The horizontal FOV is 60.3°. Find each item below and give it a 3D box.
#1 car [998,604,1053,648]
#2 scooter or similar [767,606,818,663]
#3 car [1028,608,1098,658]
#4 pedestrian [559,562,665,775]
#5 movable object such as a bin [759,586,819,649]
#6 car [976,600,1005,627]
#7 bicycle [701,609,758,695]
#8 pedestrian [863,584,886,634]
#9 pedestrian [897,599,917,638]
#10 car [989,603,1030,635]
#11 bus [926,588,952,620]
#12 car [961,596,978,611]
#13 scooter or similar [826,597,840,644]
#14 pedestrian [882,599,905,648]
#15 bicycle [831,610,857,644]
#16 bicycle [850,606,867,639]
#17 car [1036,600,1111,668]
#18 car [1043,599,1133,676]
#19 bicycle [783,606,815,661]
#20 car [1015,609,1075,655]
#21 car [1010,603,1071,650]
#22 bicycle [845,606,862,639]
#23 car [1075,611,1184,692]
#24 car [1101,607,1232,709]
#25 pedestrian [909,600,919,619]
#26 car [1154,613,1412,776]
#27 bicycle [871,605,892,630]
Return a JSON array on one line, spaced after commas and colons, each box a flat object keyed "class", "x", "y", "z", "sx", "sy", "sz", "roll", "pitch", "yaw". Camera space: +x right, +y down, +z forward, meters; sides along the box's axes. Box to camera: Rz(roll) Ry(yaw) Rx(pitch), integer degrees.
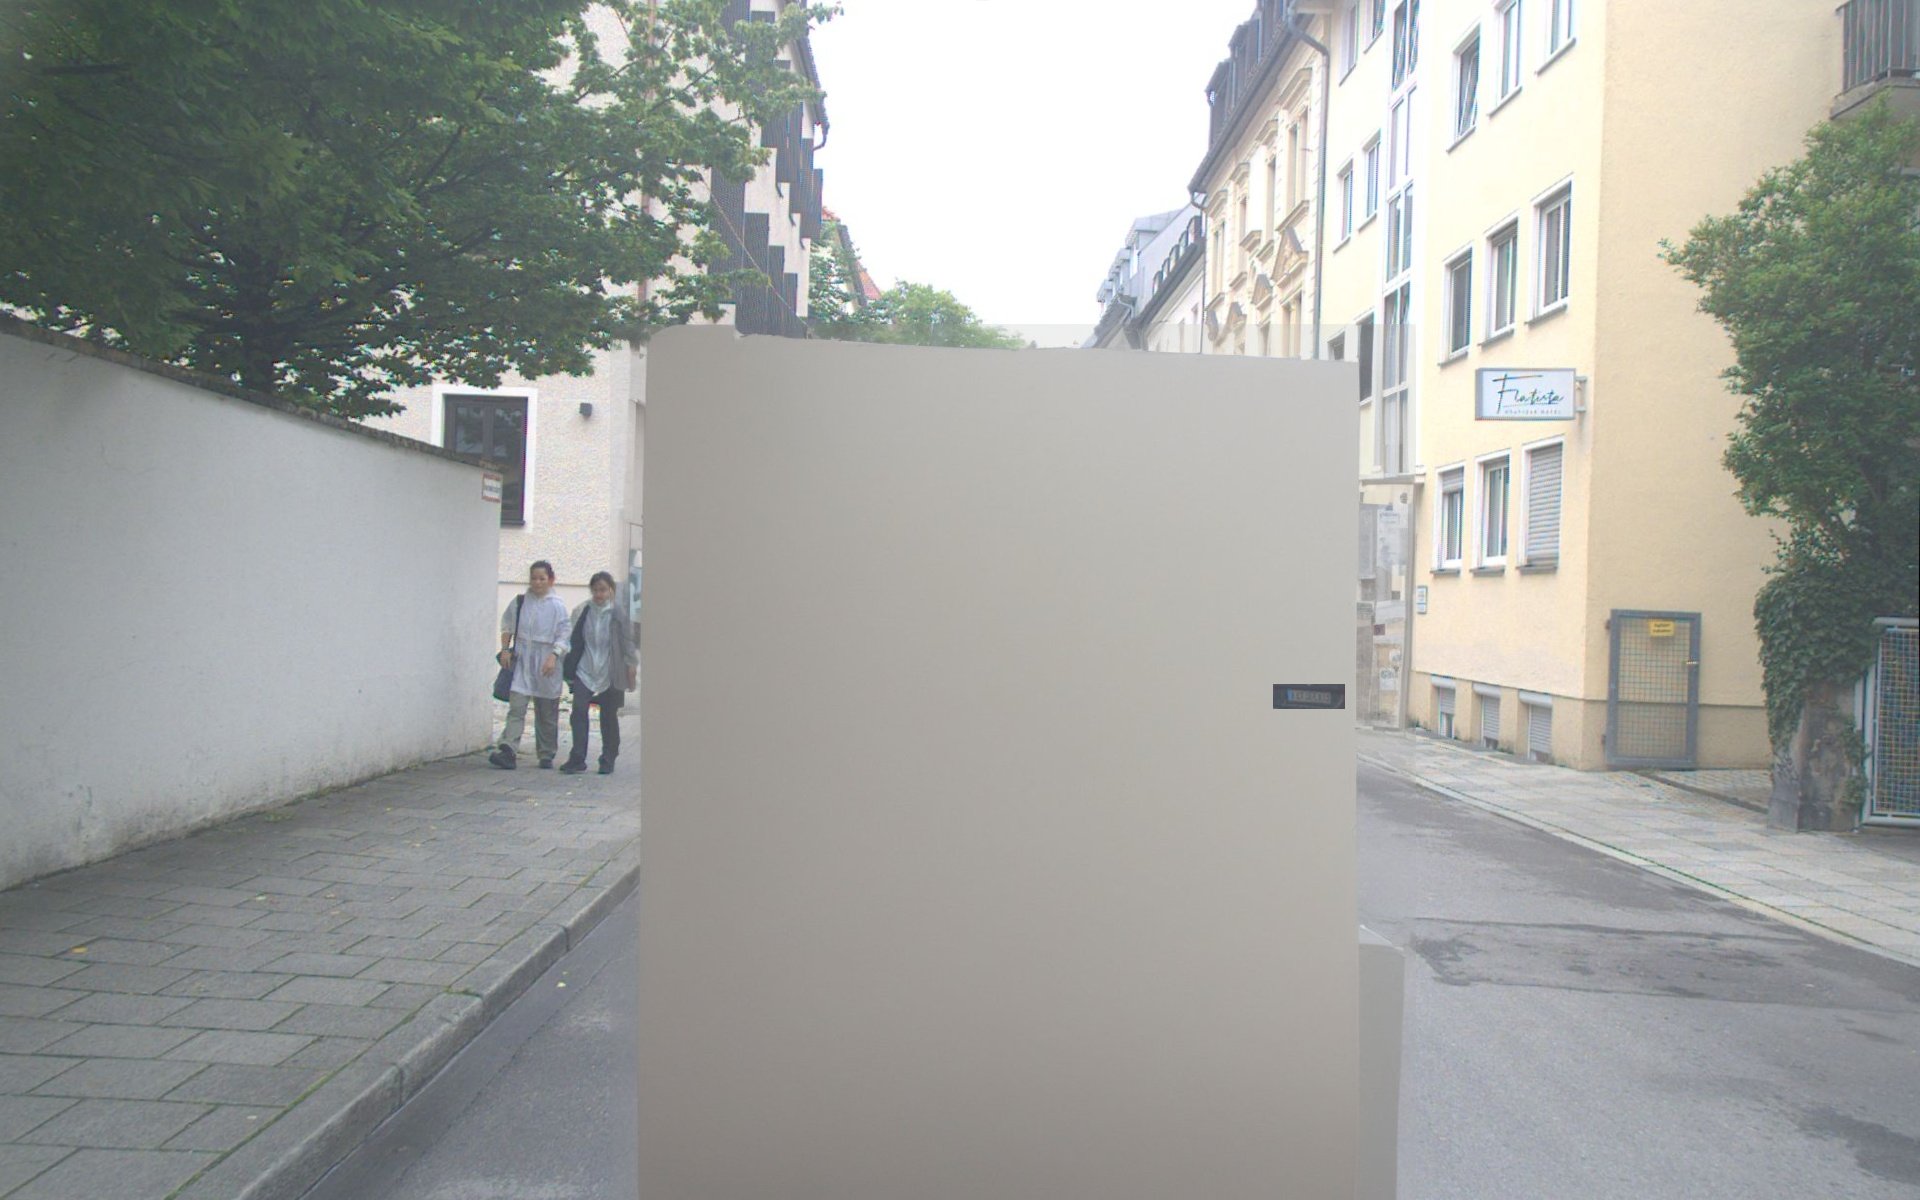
[{"class": "car", "x": 2.511, "y": 0.987, "z": 64.389, "sx": 1.802, "sy": 1.555, "sz": 4.291, "roll": 3, "pitch": 0, "yaw": -1}, {"class": "scooter or similar", "x": -3.575, "y": 0.744, "z": 35.467, "sx": 0.540, "sy": 1.163, "sz": 1.359, "roll": 4, "pitch": -1, "yaw": 16}, {"class": "car", "x": 3.074, "y": 0.971, "z": 50.055, "sx": 1.763, "sy": 1.410, "sz": 4.348, "roll": 1, "pitch": 0, "yaw": -1}, {"class": "pedestrian", "x": -2.740, "y": 0.534, "z": 13.088, "sx": 0.610, "sy": 1.606, "sz": 0.714, "roll": 3, "pitch": -1, "yaw": -1}, {"class": "movable object such as a bin", "x": -4.435, "y": 0.434, "z": 42.983, "sx": 1.150, "sy": 1.466, "sz": 1.249, "roll": 7, "pitch": 1, "yaw": 5}, {"class": "car", "x": 2.304, "y": 1.040, "z": 125.735, "sx": 1.766, "sy": 1.851, "sz": 3.998, "roll": 6, "pitch": 0, "yaw": -3}, {"class": "bicycle", "x": -3.318, "y": 0.724, "z": 23.894, "sx": 0.527, "sy": 1.159, "sz": 1.916, "roll": 4, "pitch": 0, "yaw": -1}, {"class": "pedestrian", "x": -3.169, "y": 0.338, "z": 61.348, "sx": 0.704, "sy": 1.828, "sz": 0.916, "roll": 4, "pitch": -1, "yaw": 0}, {"class": "pedestrian", "x": -2.384, "y": 0.826, "z": 74.705, "sx": 0.738, "sy": 1.688, "sz": 0.906, "roll": 4, "pitch": -1, "yaw": 0}, {"class": "car", "x": 2.629, "y": 1.018, "z": 89.255, "sx": 1.848, "sy": 1.582, "sz": 4.389, "roll": 3, "pitch": 0, "yaw": -2}, {"class": "bus", "x": -2.158, "y": 0.462, "z": 171.557, "sx": 2.540, "sy": 3.156, "sz": 6.305, "roll": 1, "pitch": -1, "yaw": 0}, {"class": "car", "x": 1.177, "y": 0.413, "z": 203.553, "sx": 1.766, "sy": 1.741, "sz": 3.825, "roll": 6, "pitch": 0, "yaw": -2}, {"class": "scooter or similar", "x": -3.903, "y": 0.630, "z": 50.864, "sx": 0.311, "sy": 1.400, "sz": 1.239, "roll": 1, "pitch": -1, "yaw": -1}, {"class": "pedestrian", "x": -2.474, "y": 0.870, "z": 61.520, "sx": 0.704, "sy": 1.796, "sz": 0.838, "roll": 4, "pitch": -1, "yaw": 0}, {"class": "bicycle", "x": -3.697, "y": 0.842, "z": 52.597, "sx": 0.690, "sy": 1.001, "sz": 1.821, "roll": 6, "pitch": -1, "yaw": -5}, {"class": "bicycle", "x": -3.840, "y": 0.844, "z": 62.453, "sx": 0.551, "sy": 1.180, "sz": 1.718, "roll": 2, "pitch": -1, "yaw": -6}, {"class": "car", "x": 3.030, "y": 0.871, "z": 44.912, "sx": 1.642, "sy": 1.690, "sz": 4.512, "roll": 2, "pitch": 0, "yaw": -1}, {"class": "car", "x": 2.969, "y": 0.833, "z": 39.125, "sx": 1.667, "sy": 1.635, "sz": 4.684, "roll": 2, "pitch": 0, "yaw": -1}, {"class": "bicycle", "x": -3.638, "y": 0.749, "z": 37.532, "sx": 0.533, "sy": 1.181, "sz": 1.881, "roll": 4, "pitch": 0, "yaw": -2}, {"class": "car", "x": 2.774, "y": 1.027, "z": 54.588, "sx": 1.771, "sy": 1.387, "sz": 3.945, "roll": 1, "pitch": 0, "yaw": 0}, {"class": "car", "x": 2.864, "y": 0.919, "z": 59.509, "sx": 1.838, "sy": 1.598, "sz": 4.314, "roll": 1, "pitch": 0, "yaw": -2}, {"class": "bicycle", "x": -3.903, "y": 0.824, "z": 60.737, "sx": 0.448, "sy": 1.179, "sz": 1.605, "roll": 4, "pitch": -1, "yaw": 1}, {"class": "car", "x": 3.277, "y": 0.962, "z": 32.587, "sx": 1.642, "sy": 1.417, "sz": 4.065, "roll": 2, "pitch": 0, "yaw": -1}, {"class": "car", "x": 3.406, "y": 0.916, "z": 27.903, "sx": 1.642, "sy": 1.518, "sz": 3.853, "roll": 2, "pitch": 0, "yaw": -1}, {"class": "pedestrian", "x": -3.756, "y": 0.766, "z": 135.487, "sx": 0.740, "sy": 1.517, "sz": 0.831, "roll": 1, "pitch": -1, "yaw": 0}, {"class": "car", "x": 3.384, "y": 0.935, "z": 18.231, "sx": 1.789, "sy": 1.357, "sz": 4.507, "roll": 6, "pitch": 0, "yaw": -1}, {"class": "bicycle", "x": -4.059, "y": 0.895, "z": 85.414, "sx": 0.631, "sy": 1.239, "sz": 1.655, "roll": 1, "pitch": -1, "yaw": -19}]
